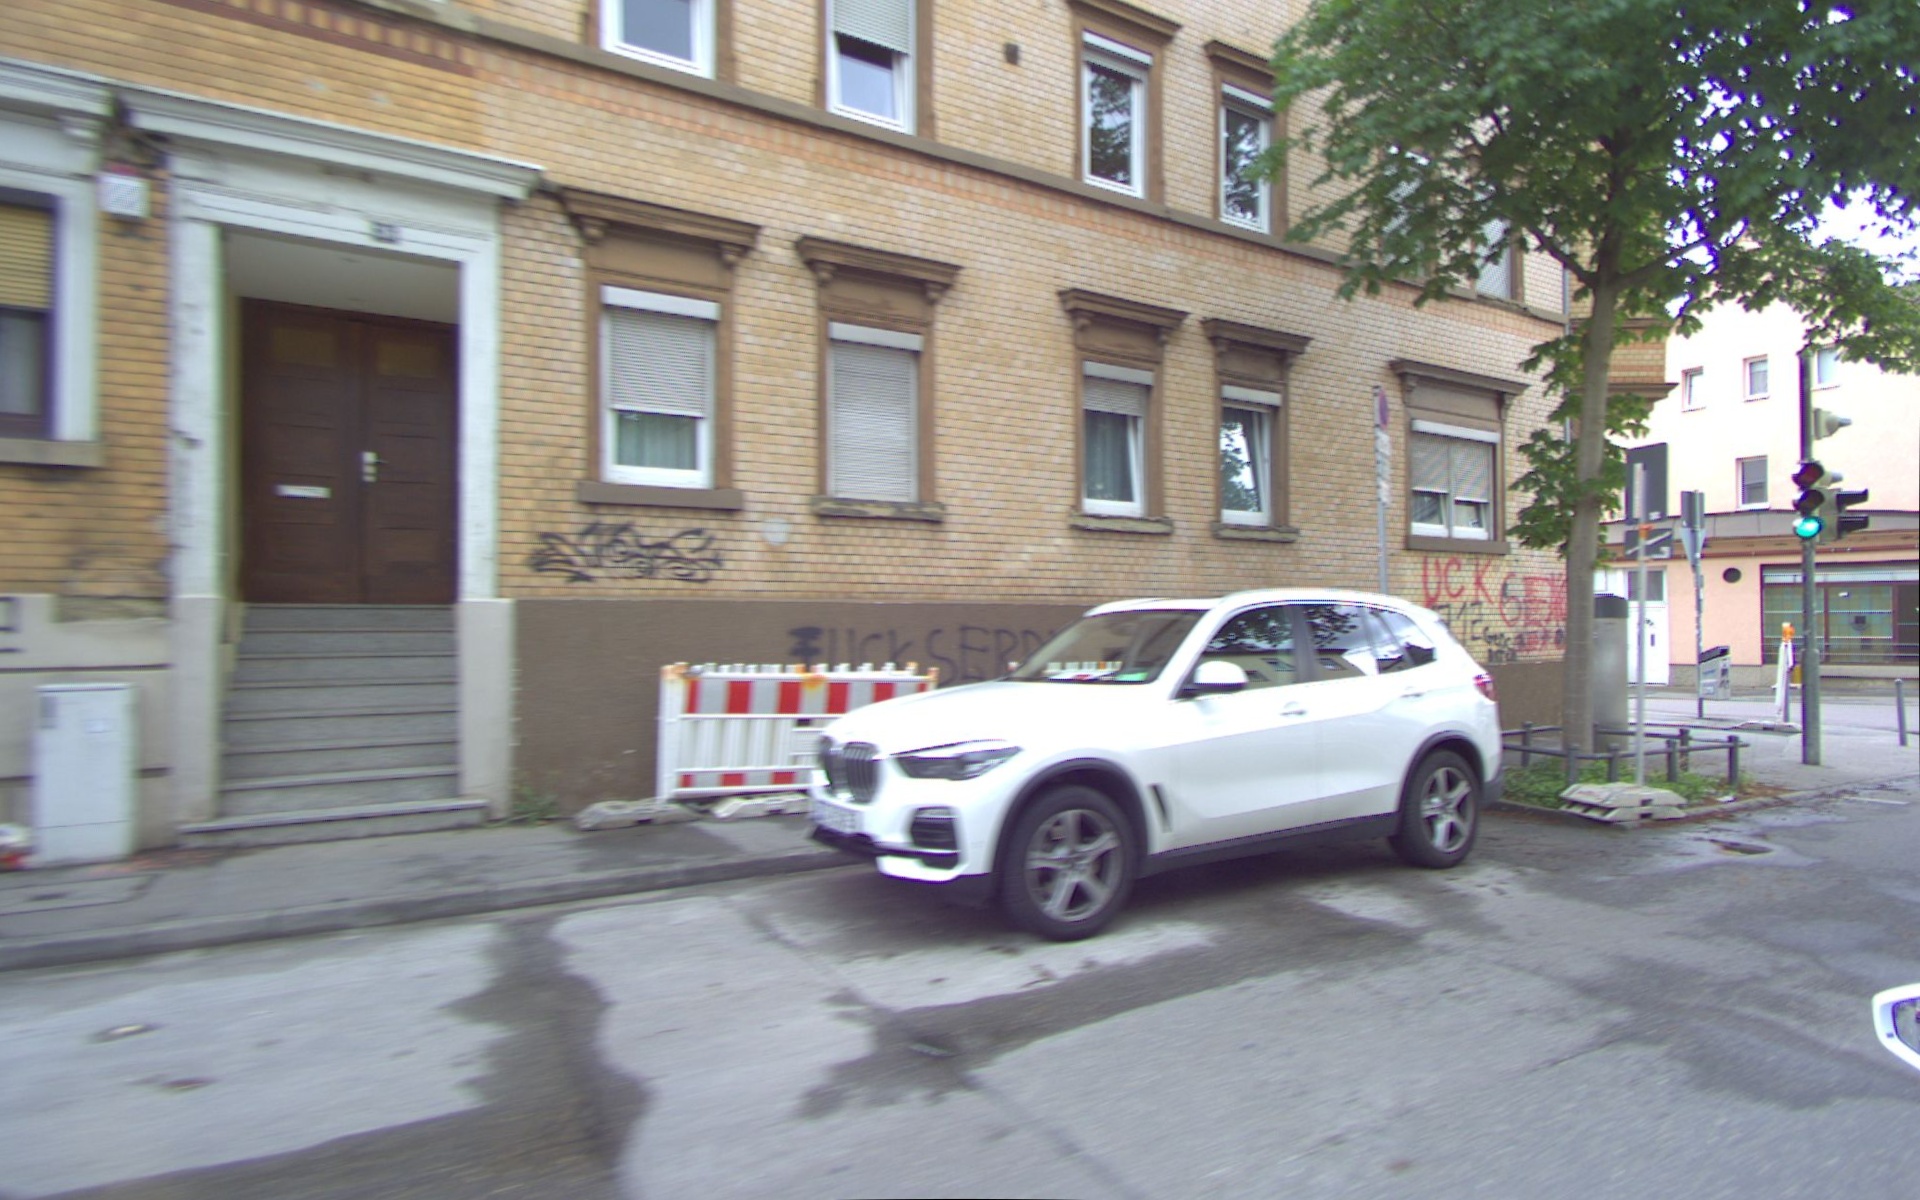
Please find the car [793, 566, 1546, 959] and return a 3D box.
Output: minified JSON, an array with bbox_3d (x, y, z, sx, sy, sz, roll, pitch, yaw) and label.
[{"bbox_3d":[1.466,0.809,6.462,4.685,1.734,1.883,1,-4,-30],"label":"car"}]
